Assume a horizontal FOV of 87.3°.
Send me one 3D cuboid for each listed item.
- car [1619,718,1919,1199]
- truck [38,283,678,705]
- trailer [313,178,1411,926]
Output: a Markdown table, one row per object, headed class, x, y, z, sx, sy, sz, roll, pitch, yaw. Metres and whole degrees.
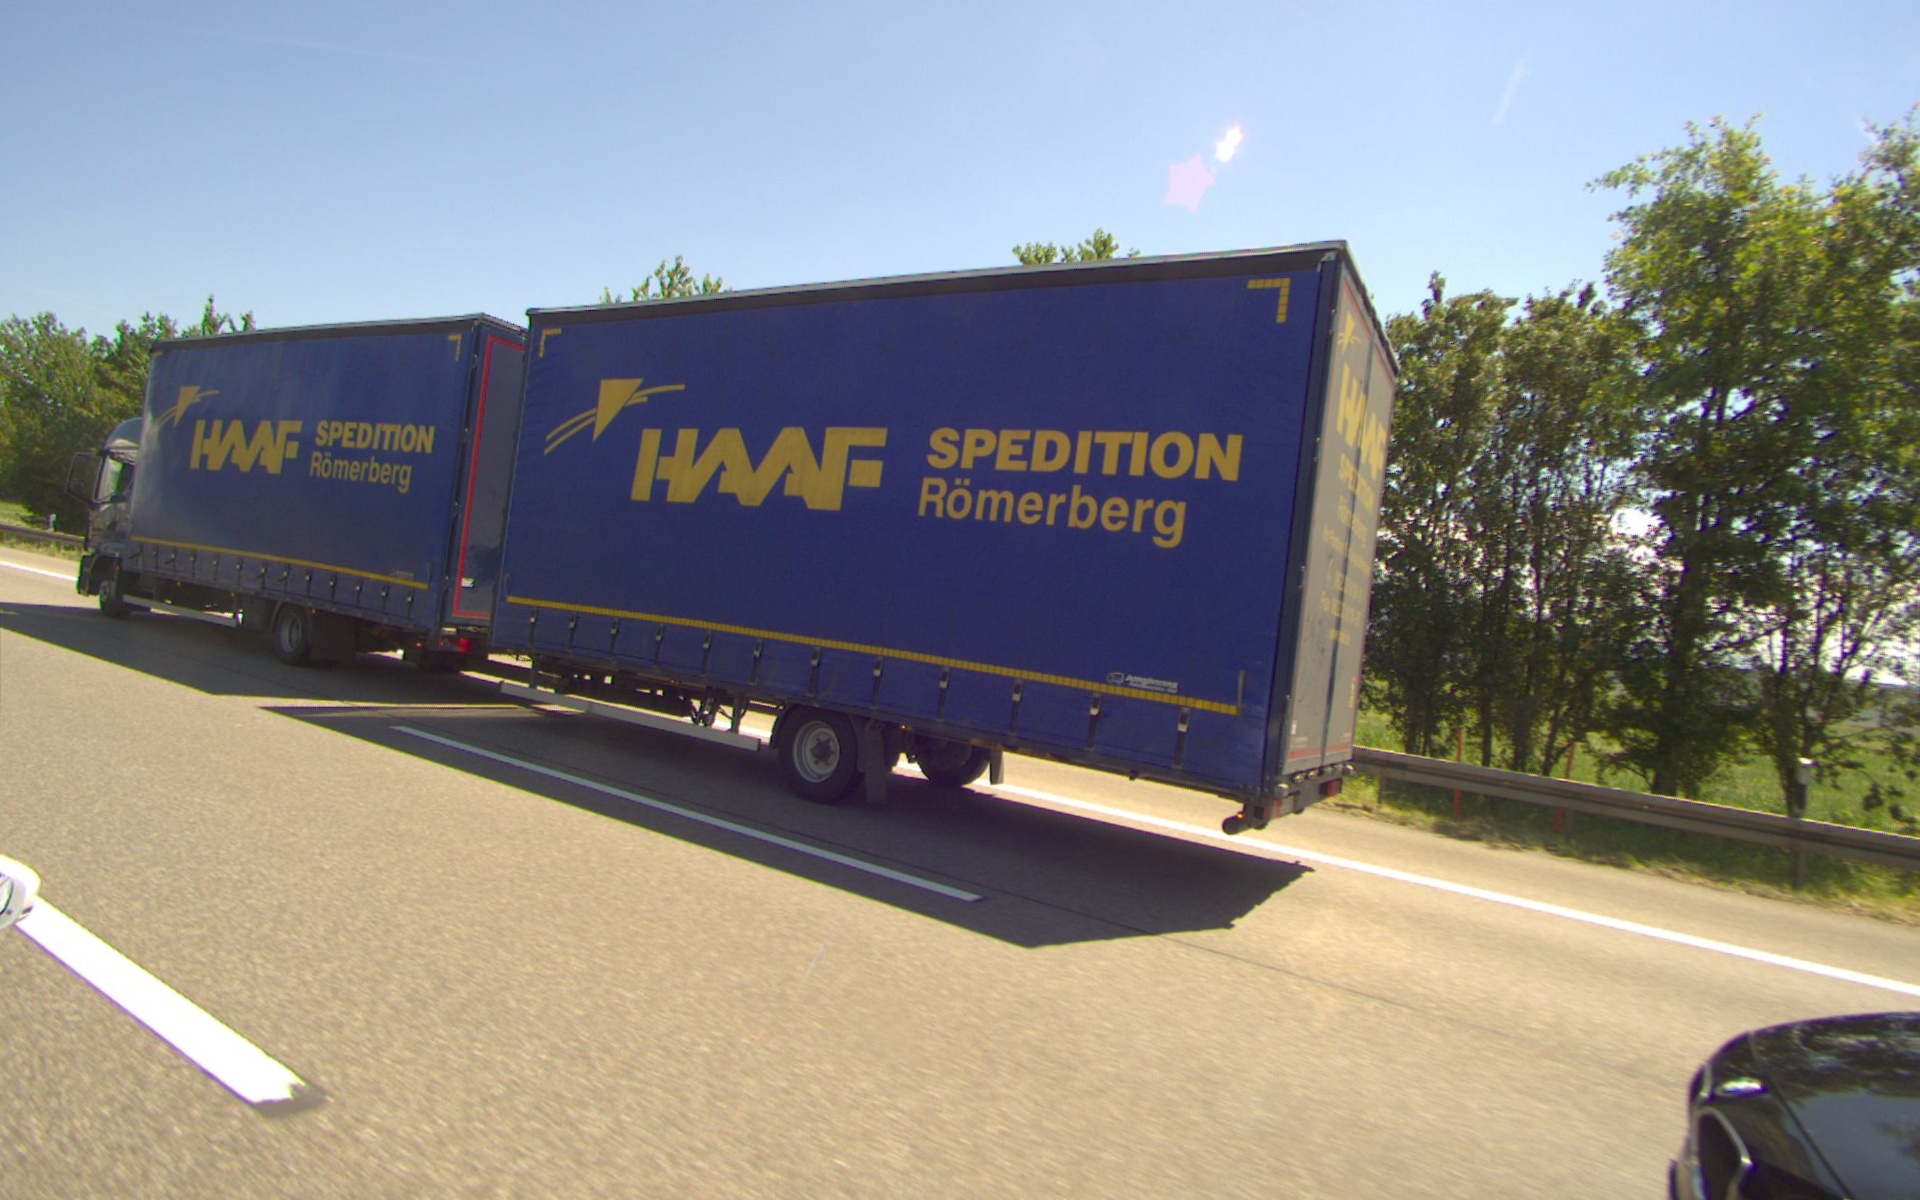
| class | x | y | z | sx | sy | sz | roll | pitch | yaw |
| --- | --- | --- | --- | --- | --- | --- | --- | --- | --- |
| car | 3.418 | 1.198 | 0.997 | 4.423 | 1.435 | 1.839 | 6 | -1 | 32 |
| truck | -8.941 | -1.462 | 14.085 | 10.627 | 4.256 | 2.794 | 7 | 0 | 32 |
| trailer | -1.823 | -0.664 | 9.685 | 10.627 | 4.256 | 2.794 | 7 | 0 | 32 |
